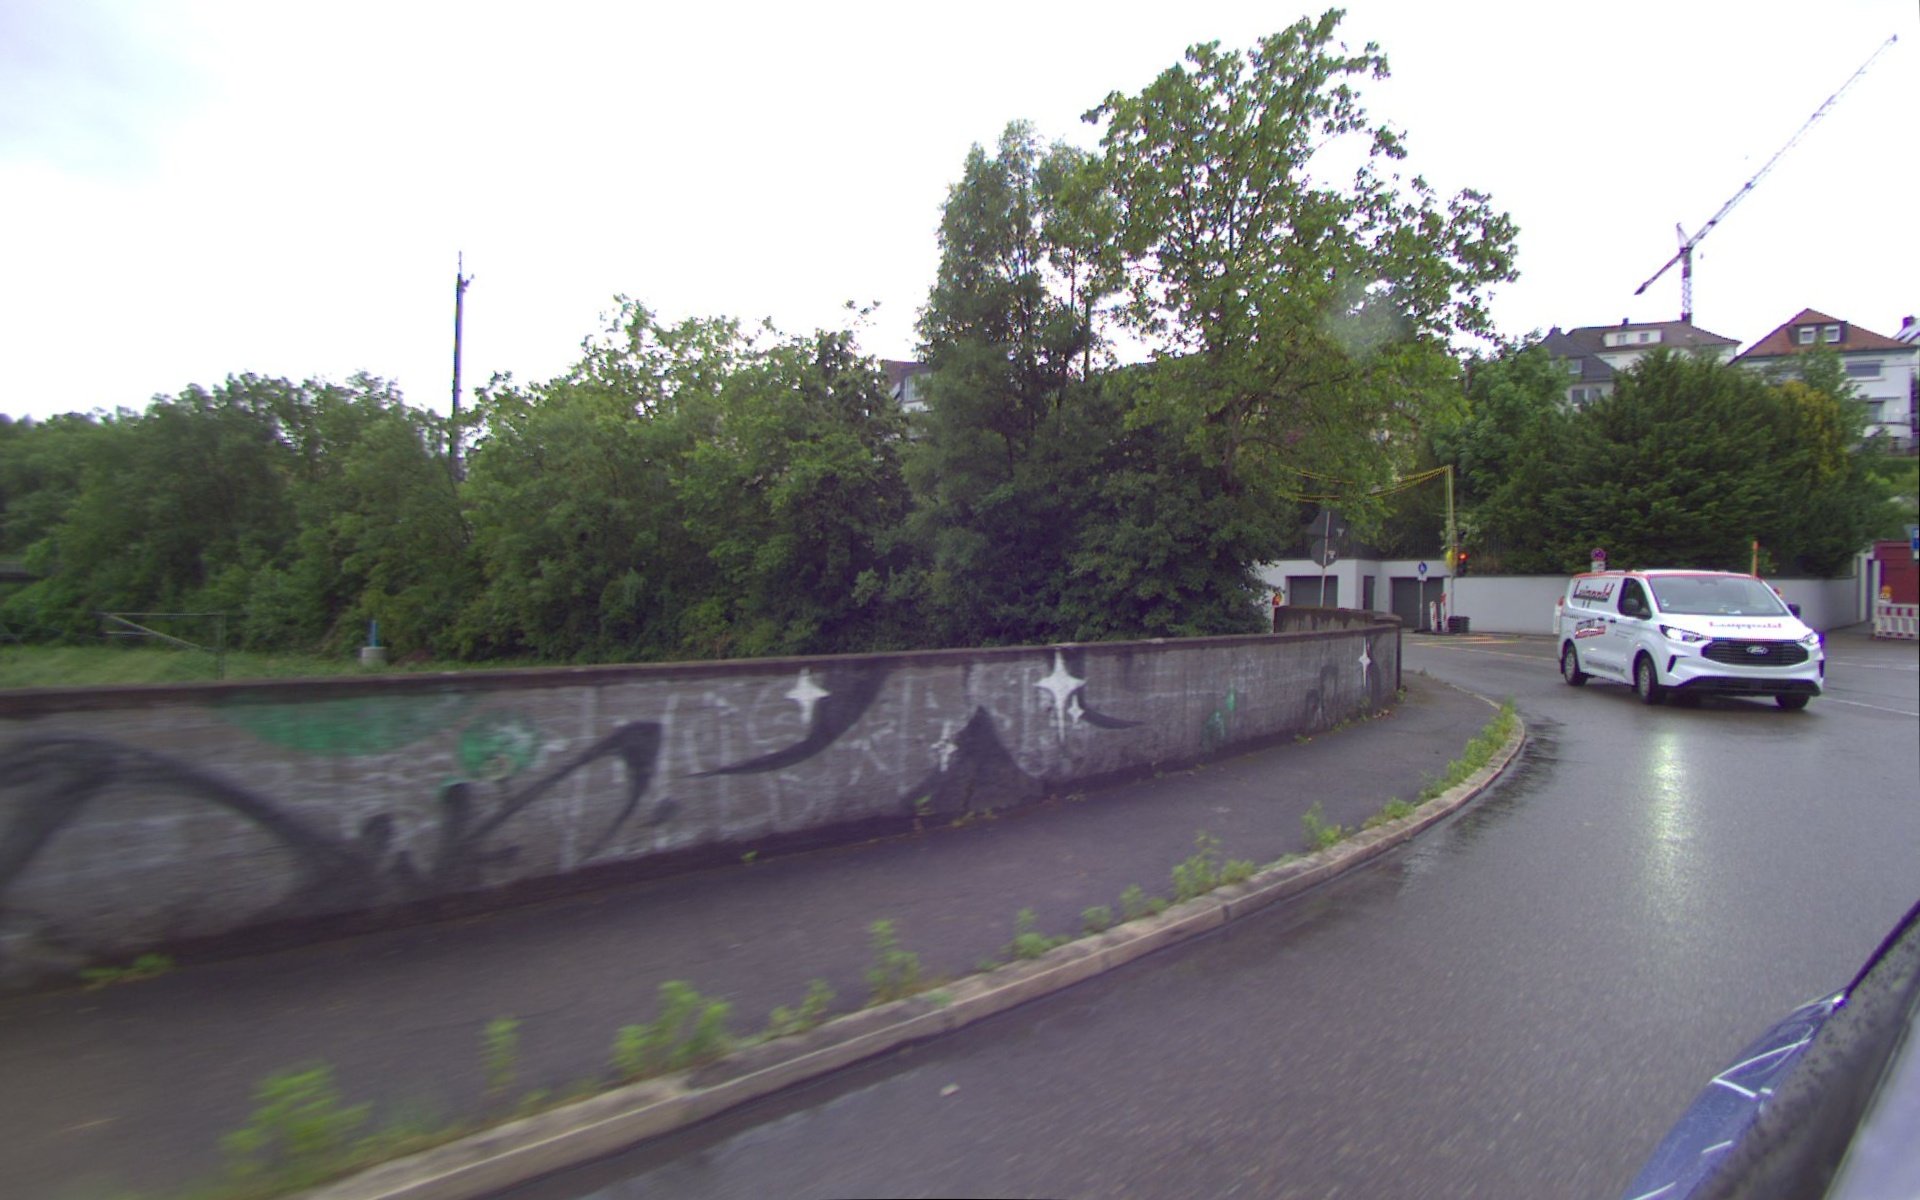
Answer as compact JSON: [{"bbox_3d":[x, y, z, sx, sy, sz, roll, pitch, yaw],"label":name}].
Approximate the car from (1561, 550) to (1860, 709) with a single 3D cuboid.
[{"bbox_3d":[11.178,0.279,15.593,1.971,2.038,4.928,-1,2,15],"label":"car"}]
